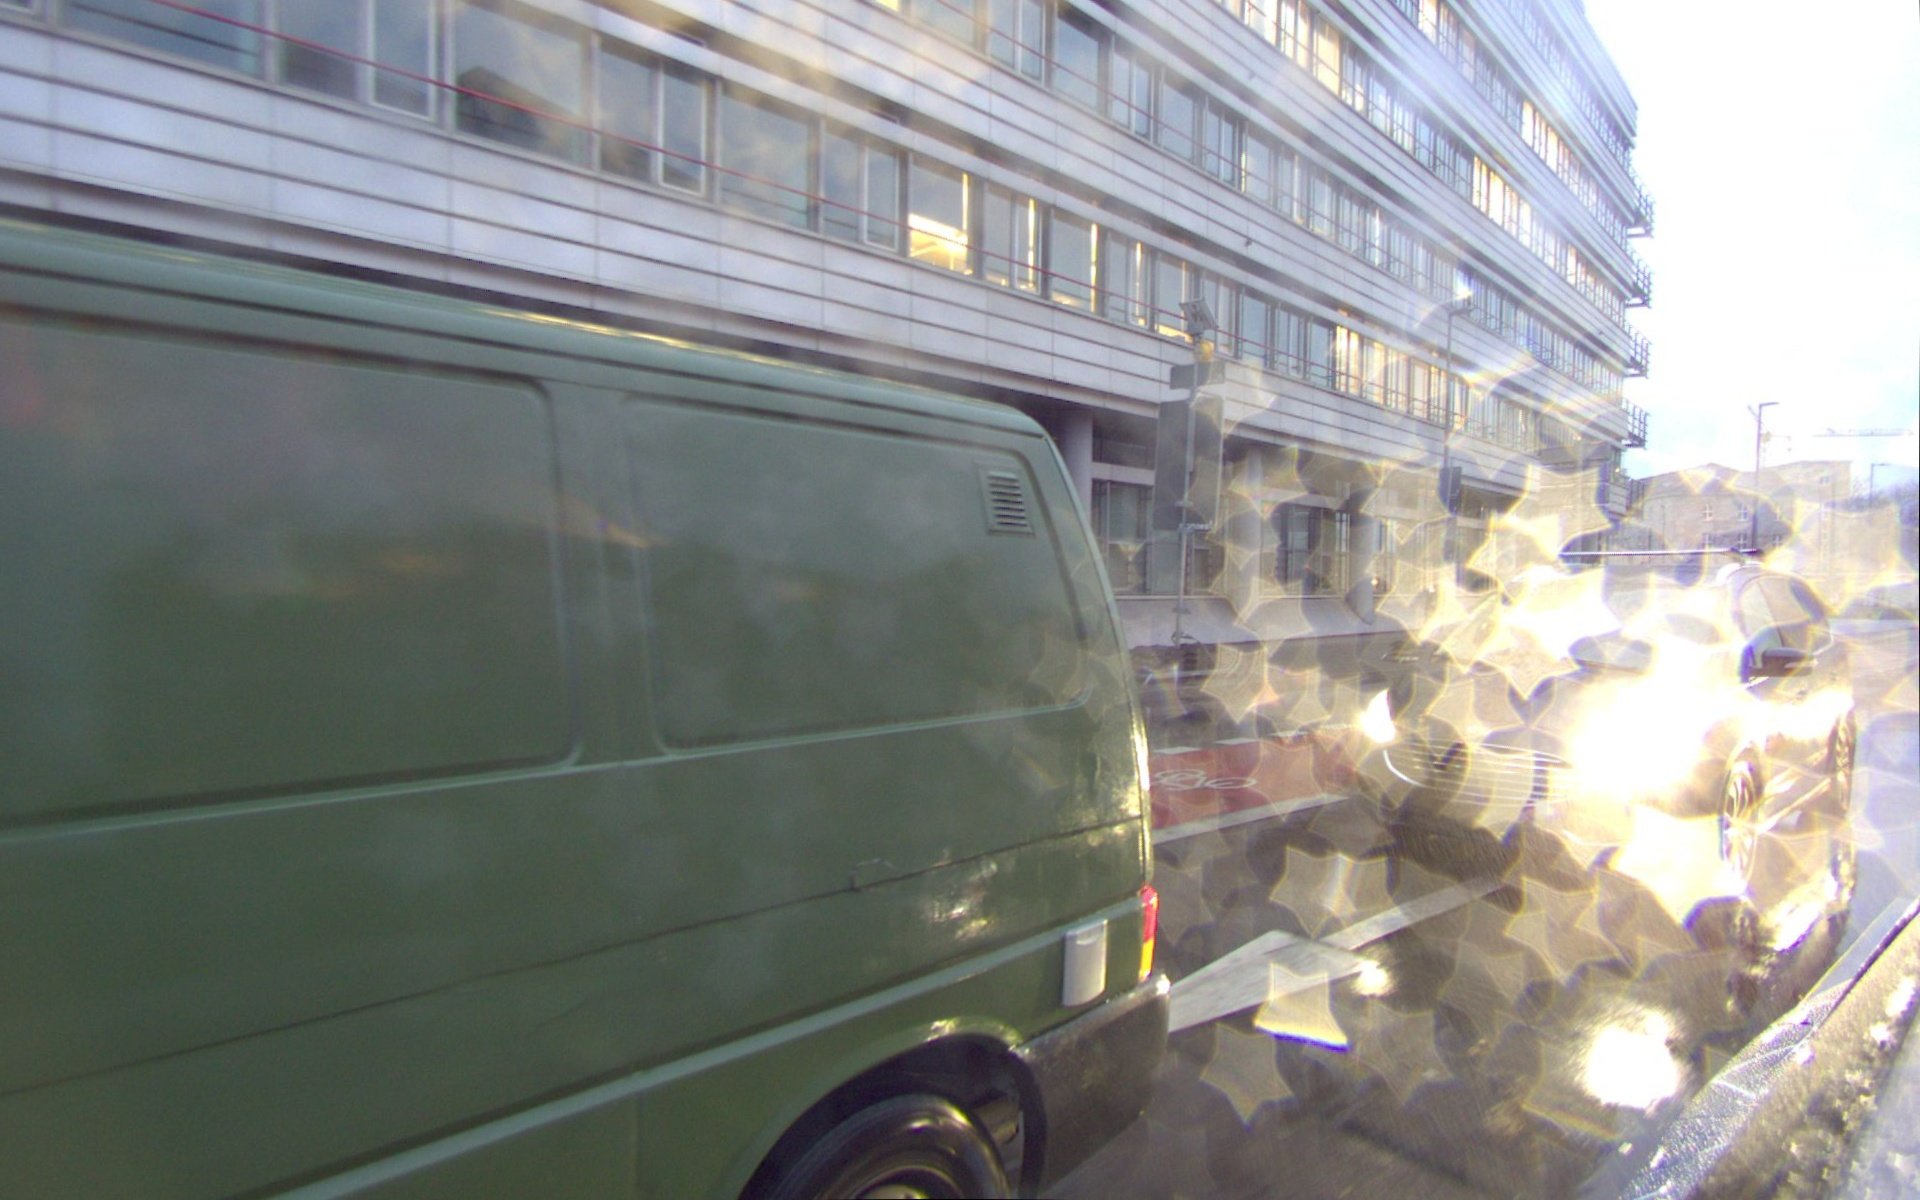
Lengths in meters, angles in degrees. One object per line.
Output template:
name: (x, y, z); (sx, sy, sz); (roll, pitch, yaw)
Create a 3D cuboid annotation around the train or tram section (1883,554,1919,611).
train or tram section: (86.314, -1.498, 84.337); (3.663, 4.921, 13.407); (-1, 1, -26)

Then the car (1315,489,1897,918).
car: (4.412, 0.424, 6.579); (4.606, 1.842, 1.908); (-1, 0, -40)

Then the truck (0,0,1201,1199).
truck: (-1.817, 0.402, 1.357); (4.537, 1.941, 1.907); (-1, 0, -41)

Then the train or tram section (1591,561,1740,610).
train or tram section: (75.431, -1.551, 108.797); (3.661, 4.862, 13.414); (-1, 1, -20)

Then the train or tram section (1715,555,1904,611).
train or tram section: (80.429, -1.587, 96.415); (3.663, 4.995, 13.407); (-1, 1, -26)
